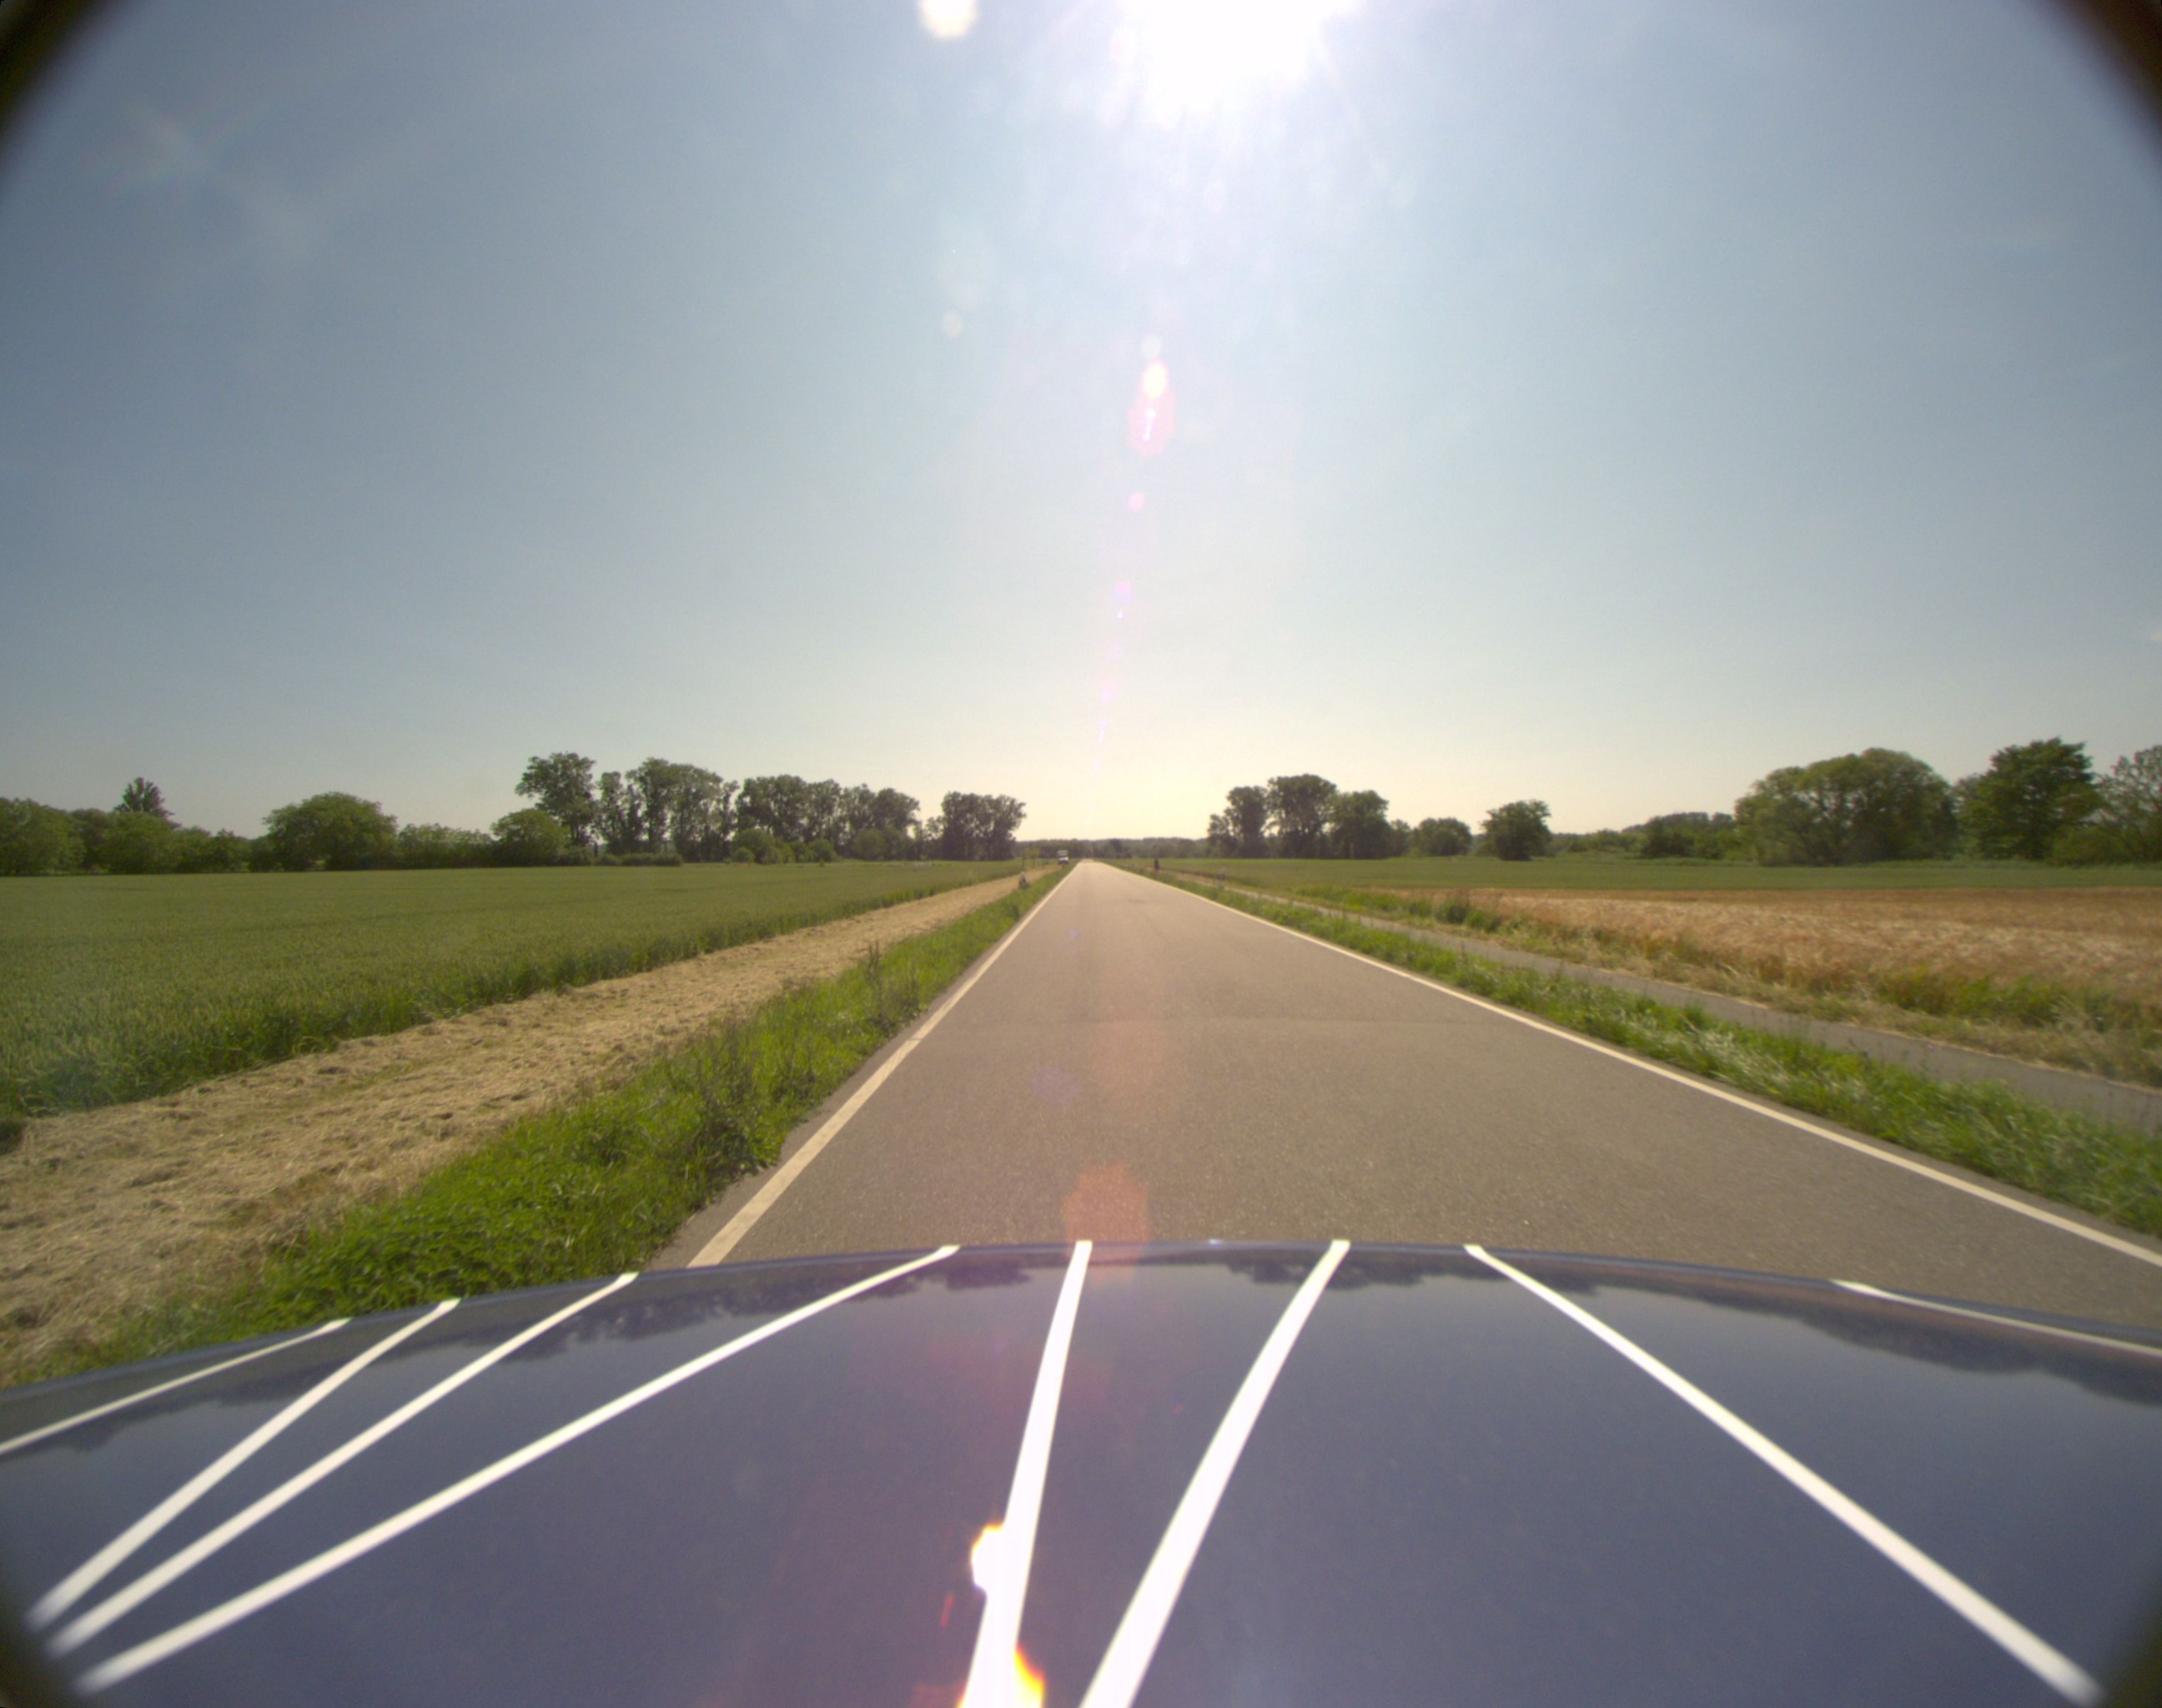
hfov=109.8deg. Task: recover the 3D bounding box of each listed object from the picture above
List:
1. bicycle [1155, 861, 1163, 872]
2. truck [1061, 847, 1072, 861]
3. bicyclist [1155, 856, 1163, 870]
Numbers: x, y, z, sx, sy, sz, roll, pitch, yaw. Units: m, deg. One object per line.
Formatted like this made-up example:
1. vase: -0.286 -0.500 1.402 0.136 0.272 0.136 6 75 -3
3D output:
1. bicycle: 8.516 1.311 83.163 0.743 1.165 2.082 0 0 1
2. truck: -2.945 -0.019 157.513 1.998 2.821 5.218 0 0 1
3. bicyclist: 8.505 1.003 83.202 0.743 1.487 1.003 0 0 1
